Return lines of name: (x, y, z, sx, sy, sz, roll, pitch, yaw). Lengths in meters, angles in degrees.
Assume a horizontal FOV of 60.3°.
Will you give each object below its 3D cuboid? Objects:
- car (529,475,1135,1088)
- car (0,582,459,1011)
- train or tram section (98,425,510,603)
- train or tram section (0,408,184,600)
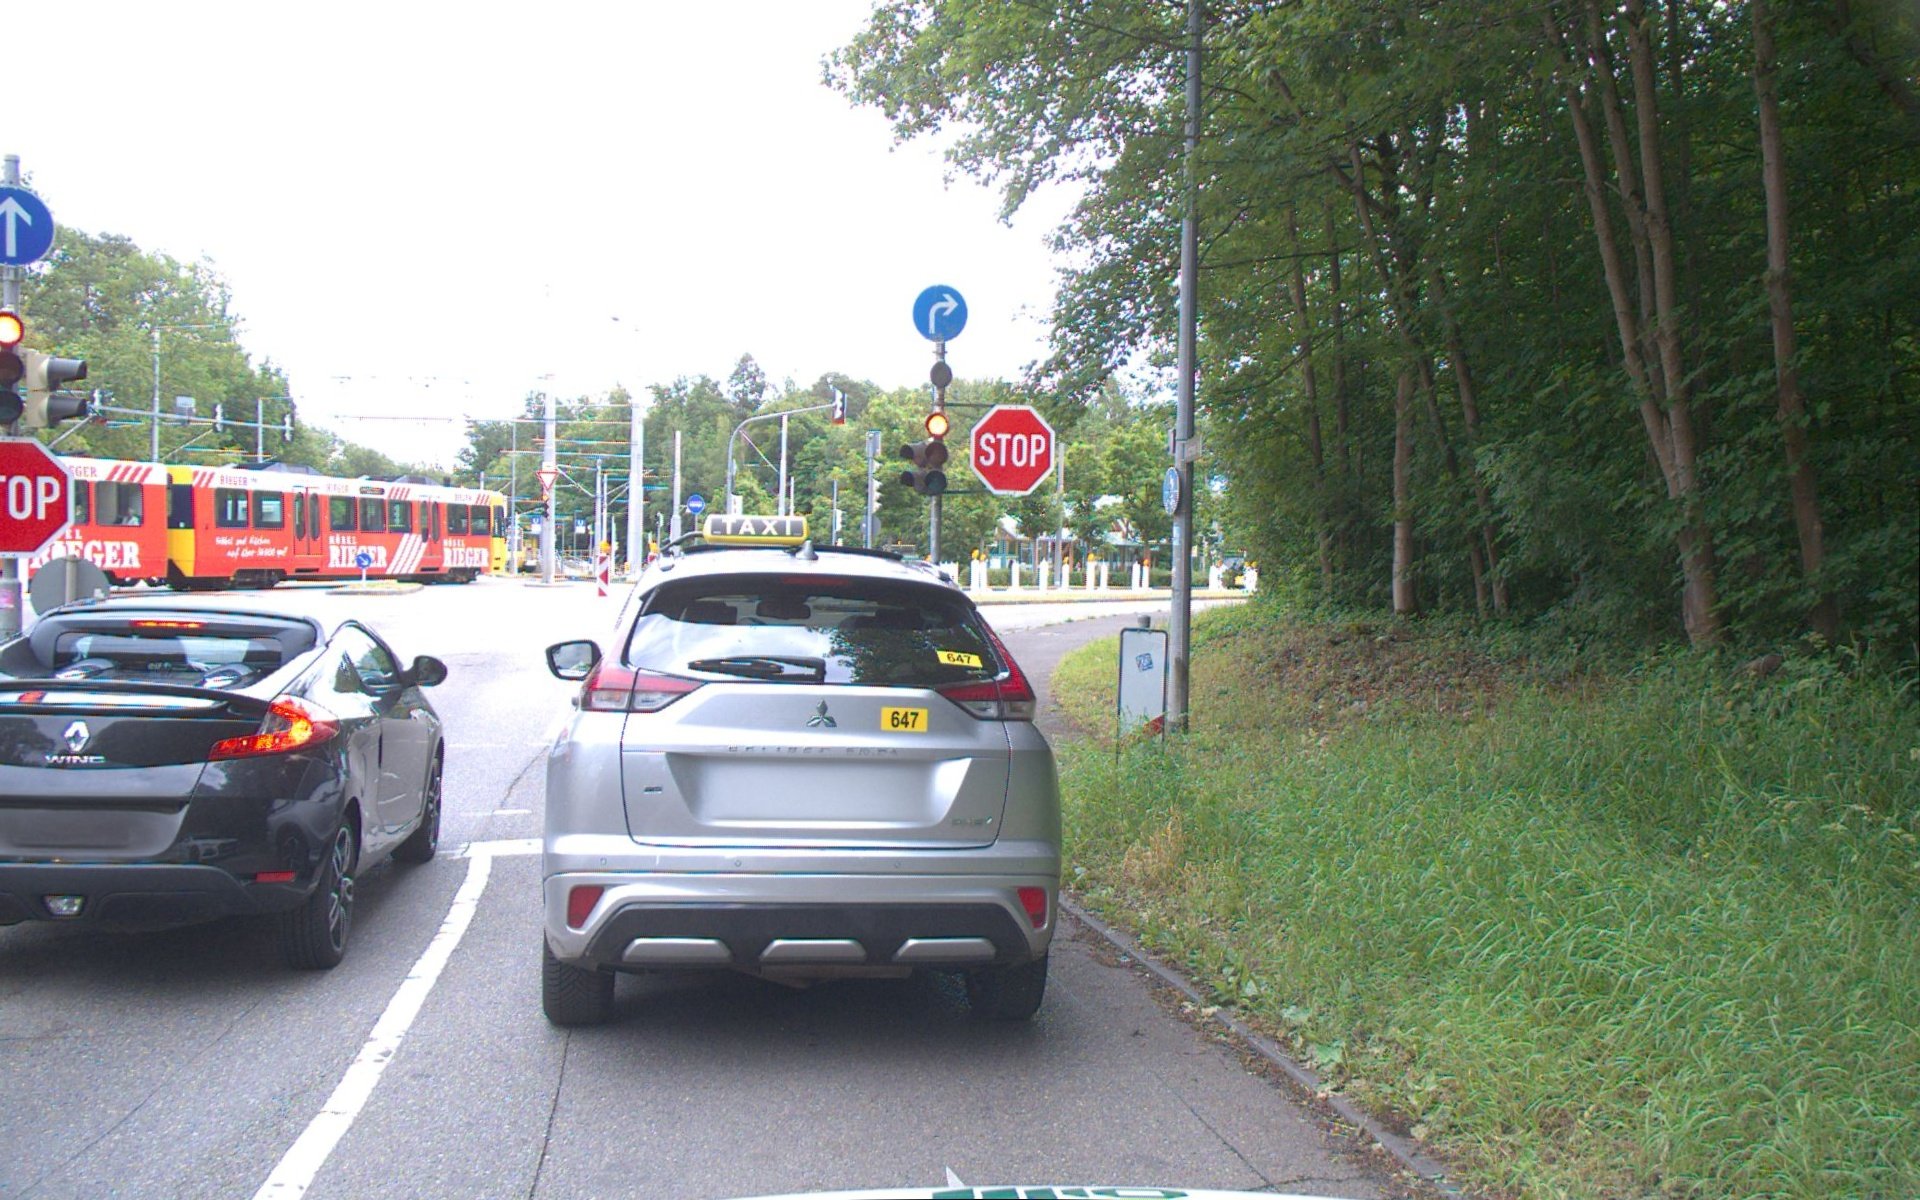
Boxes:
car: (-0.648, 0.523, 6.800, 1.741, 1.778, 3.773, 2, 1, -9)
car: (-3.287, 0.634, 7.229, 1.742, 1.385, 3.467, 0, 1, -11)
train or tram section: (-20.418, -2.343, 54.256, 2.884, 4.732, 18.561, 1, 0, 11)
train or tram section: (-25.459, -2.364, 36.117, 2.895, 4.496, 18.732, 1, 0, 20)
